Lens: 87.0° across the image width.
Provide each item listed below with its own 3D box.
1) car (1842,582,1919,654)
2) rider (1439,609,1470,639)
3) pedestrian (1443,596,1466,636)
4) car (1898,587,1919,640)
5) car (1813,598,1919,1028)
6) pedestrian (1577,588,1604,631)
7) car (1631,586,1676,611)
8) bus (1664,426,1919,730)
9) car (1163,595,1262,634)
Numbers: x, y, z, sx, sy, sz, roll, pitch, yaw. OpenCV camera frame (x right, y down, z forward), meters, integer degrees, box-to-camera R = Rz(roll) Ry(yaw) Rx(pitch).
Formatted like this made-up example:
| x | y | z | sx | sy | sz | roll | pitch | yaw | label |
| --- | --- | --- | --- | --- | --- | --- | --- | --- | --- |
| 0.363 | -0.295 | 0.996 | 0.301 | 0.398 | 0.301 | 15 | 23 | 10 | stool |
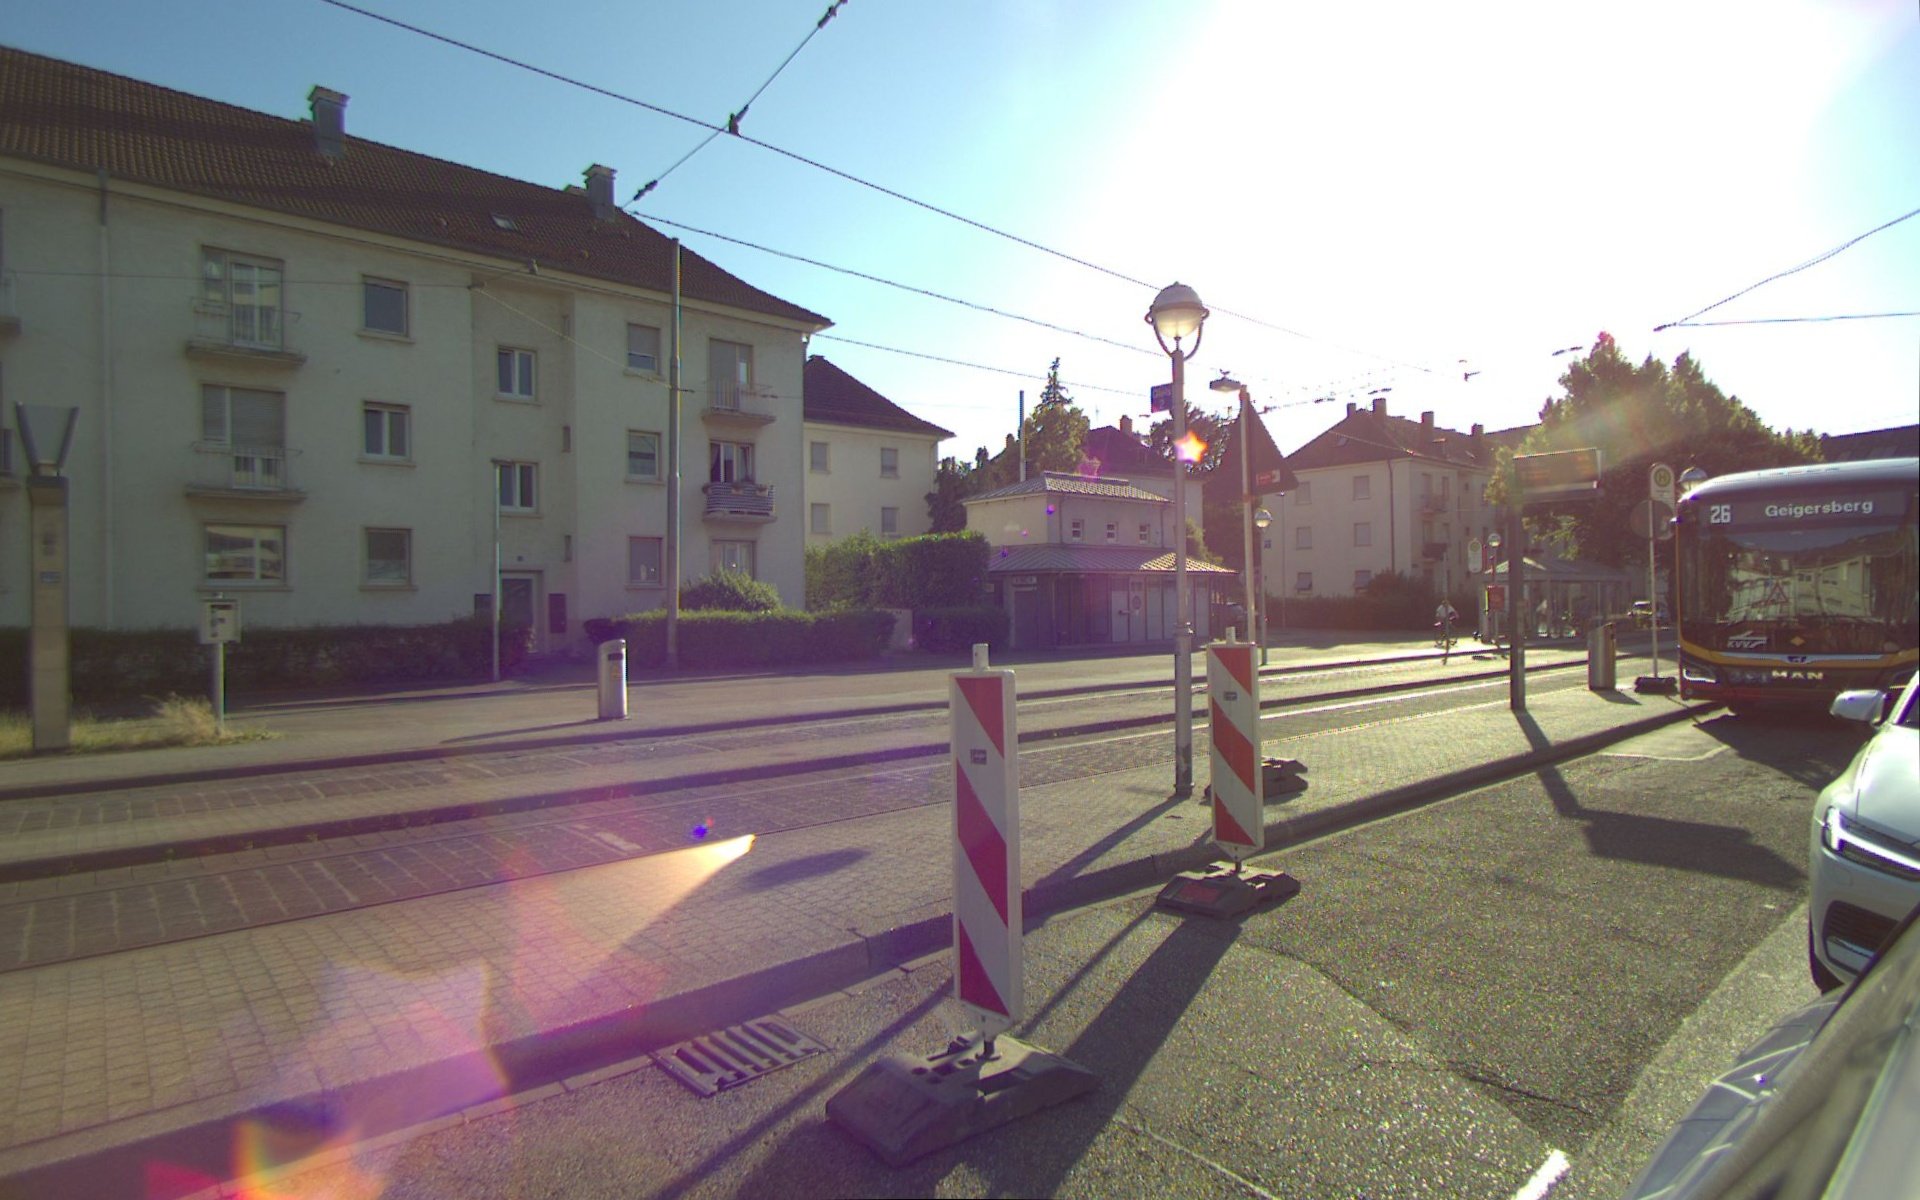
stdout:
| x | y | z | sx | sy | sz | roll | pitch | yaw | label |
| --- | --- | --- | --- | --- | --- | --- | --- | --- | --- |
| 21.228 | 0.362 | 22.374 | 4.740 | 1.477 | 1.968 | 0 | 0 | -41 | car |
| 17.554 | 0.843 | 35.952 | 0.572 | 1.004 | 1.850 | 0 | 0 | 13 | rider |
| 17.551 | 0.559 | 35.941 | 0.572 | 1.398 | 0.656 | 0 | 0 | 13 | pedestrian |
| 28.787 | 0.372 | 29.240 | 4.740 | 1.477 | 1.968 | 0 | 0 | -41 | car |
| 5.276 | 0.733 | 4.368 | 4.143 | 1.472 | 1.819 | 0 | 0 | -41 | car |
| 24.035 | 0.353 | 38.582 | 0.837 | 1.631 | 0.815 | 0 | 0 | 35 | pedestrian |
| 53.780 | -0.105 | 78.446 | 3.930 | 1.887 | 1.997 | -1 | 0 | -41 | car |
| 14.320 | -0.262 | 15.856 | 11.824 | 3.345 | 2.745 | 0 | 0 | -42 | bus |
| 11.587 | 0.686 | 46.677 | 1.964 | 1.694 | 4.050 | -1 | -1 | -39 | car |
